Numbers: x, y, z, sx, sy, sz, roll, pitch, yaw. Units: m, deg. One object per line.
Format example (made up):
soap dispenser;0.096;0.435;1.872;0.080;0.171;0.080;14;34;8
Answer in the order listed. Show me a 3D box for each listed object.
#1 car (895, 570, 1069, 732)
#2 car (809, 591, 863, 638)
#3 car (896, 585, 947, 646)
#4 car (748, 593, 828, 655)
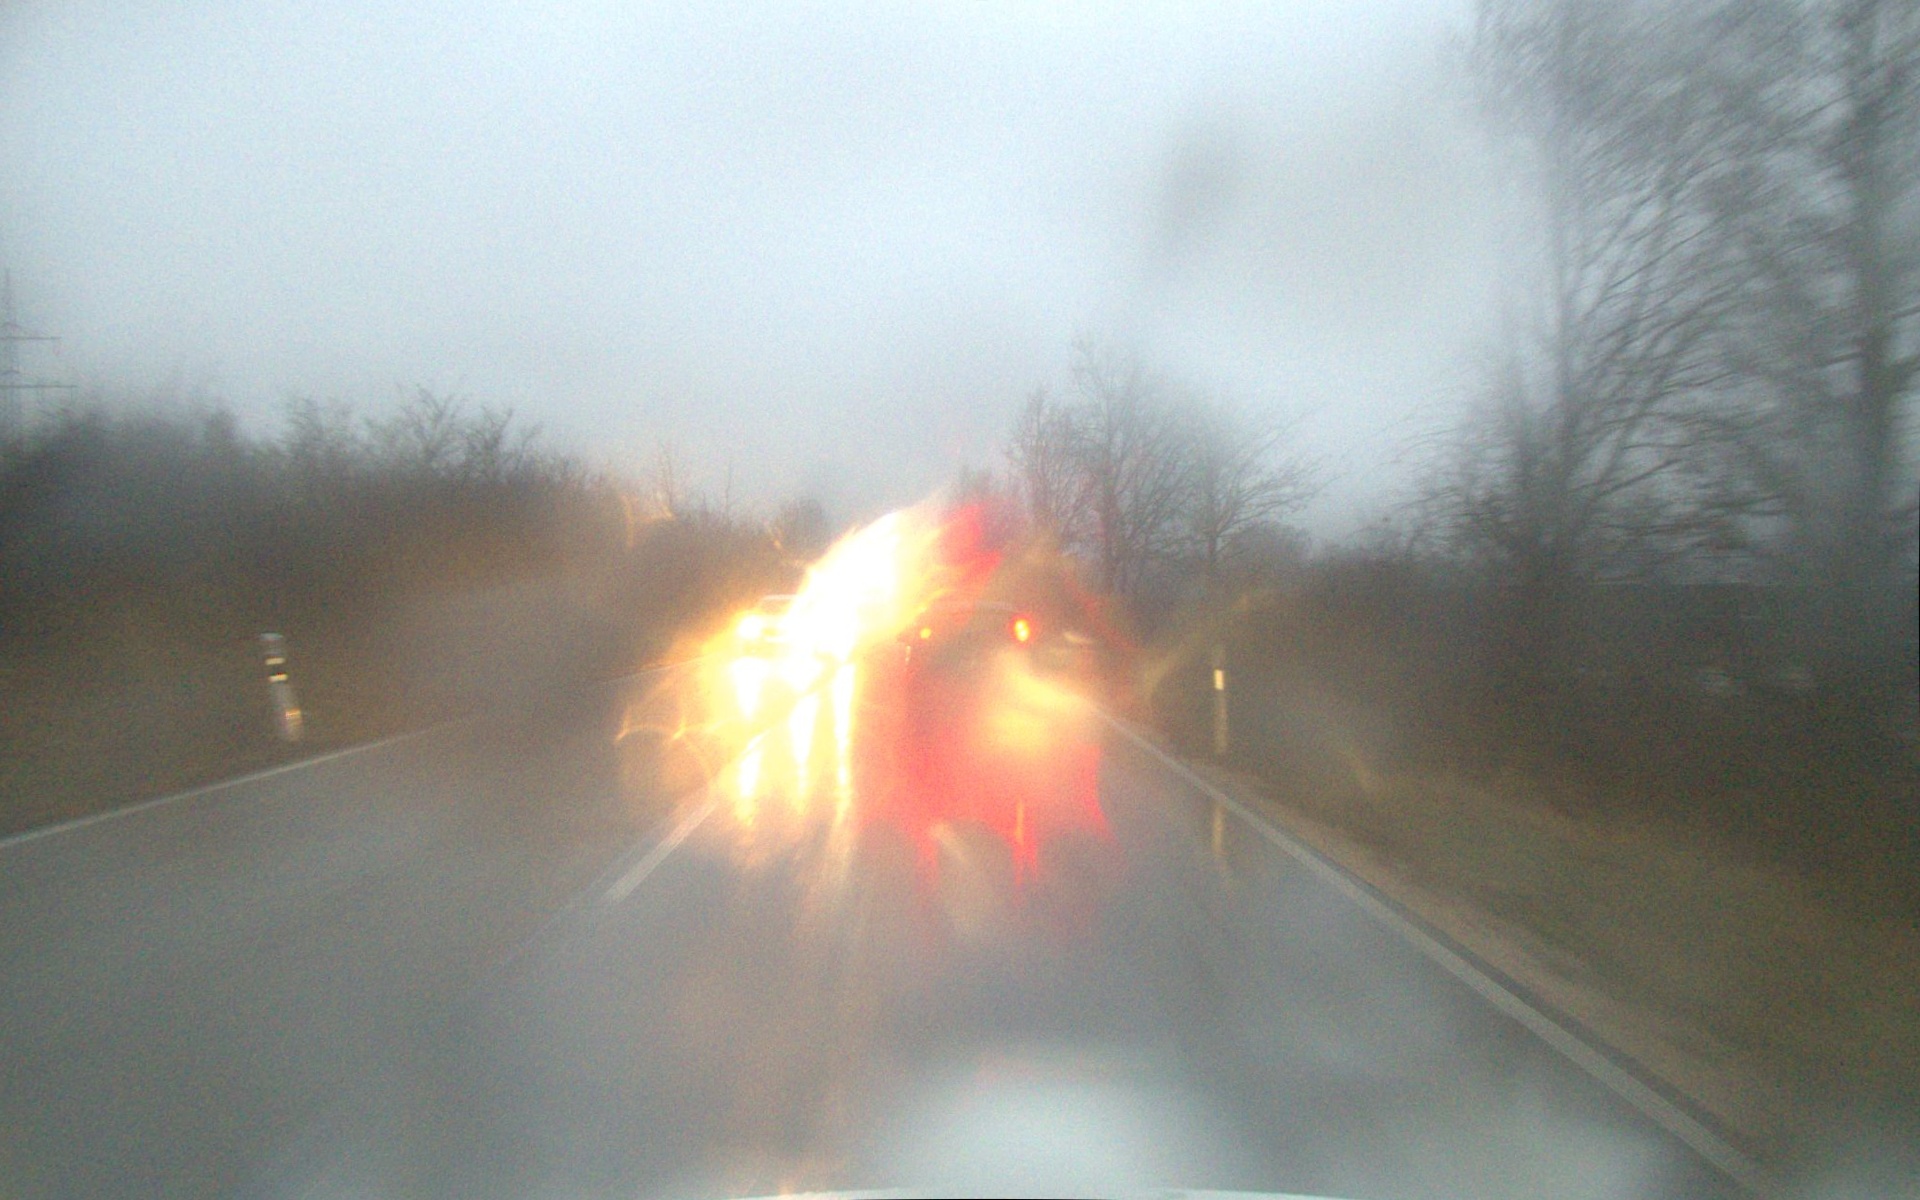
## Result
car;0.264;0.582;20.991;1.953;1.816;4.000;1;0;0
car;-4.733;0.542;63.695;1.722;1.669;4.685;2;0;0
car;-1.235;0.489;54.370;1.542;1.907;3.709;1;0;0
car;-4.452;0.590;43.220;1.788;1.525;4.093;1;0;-2
